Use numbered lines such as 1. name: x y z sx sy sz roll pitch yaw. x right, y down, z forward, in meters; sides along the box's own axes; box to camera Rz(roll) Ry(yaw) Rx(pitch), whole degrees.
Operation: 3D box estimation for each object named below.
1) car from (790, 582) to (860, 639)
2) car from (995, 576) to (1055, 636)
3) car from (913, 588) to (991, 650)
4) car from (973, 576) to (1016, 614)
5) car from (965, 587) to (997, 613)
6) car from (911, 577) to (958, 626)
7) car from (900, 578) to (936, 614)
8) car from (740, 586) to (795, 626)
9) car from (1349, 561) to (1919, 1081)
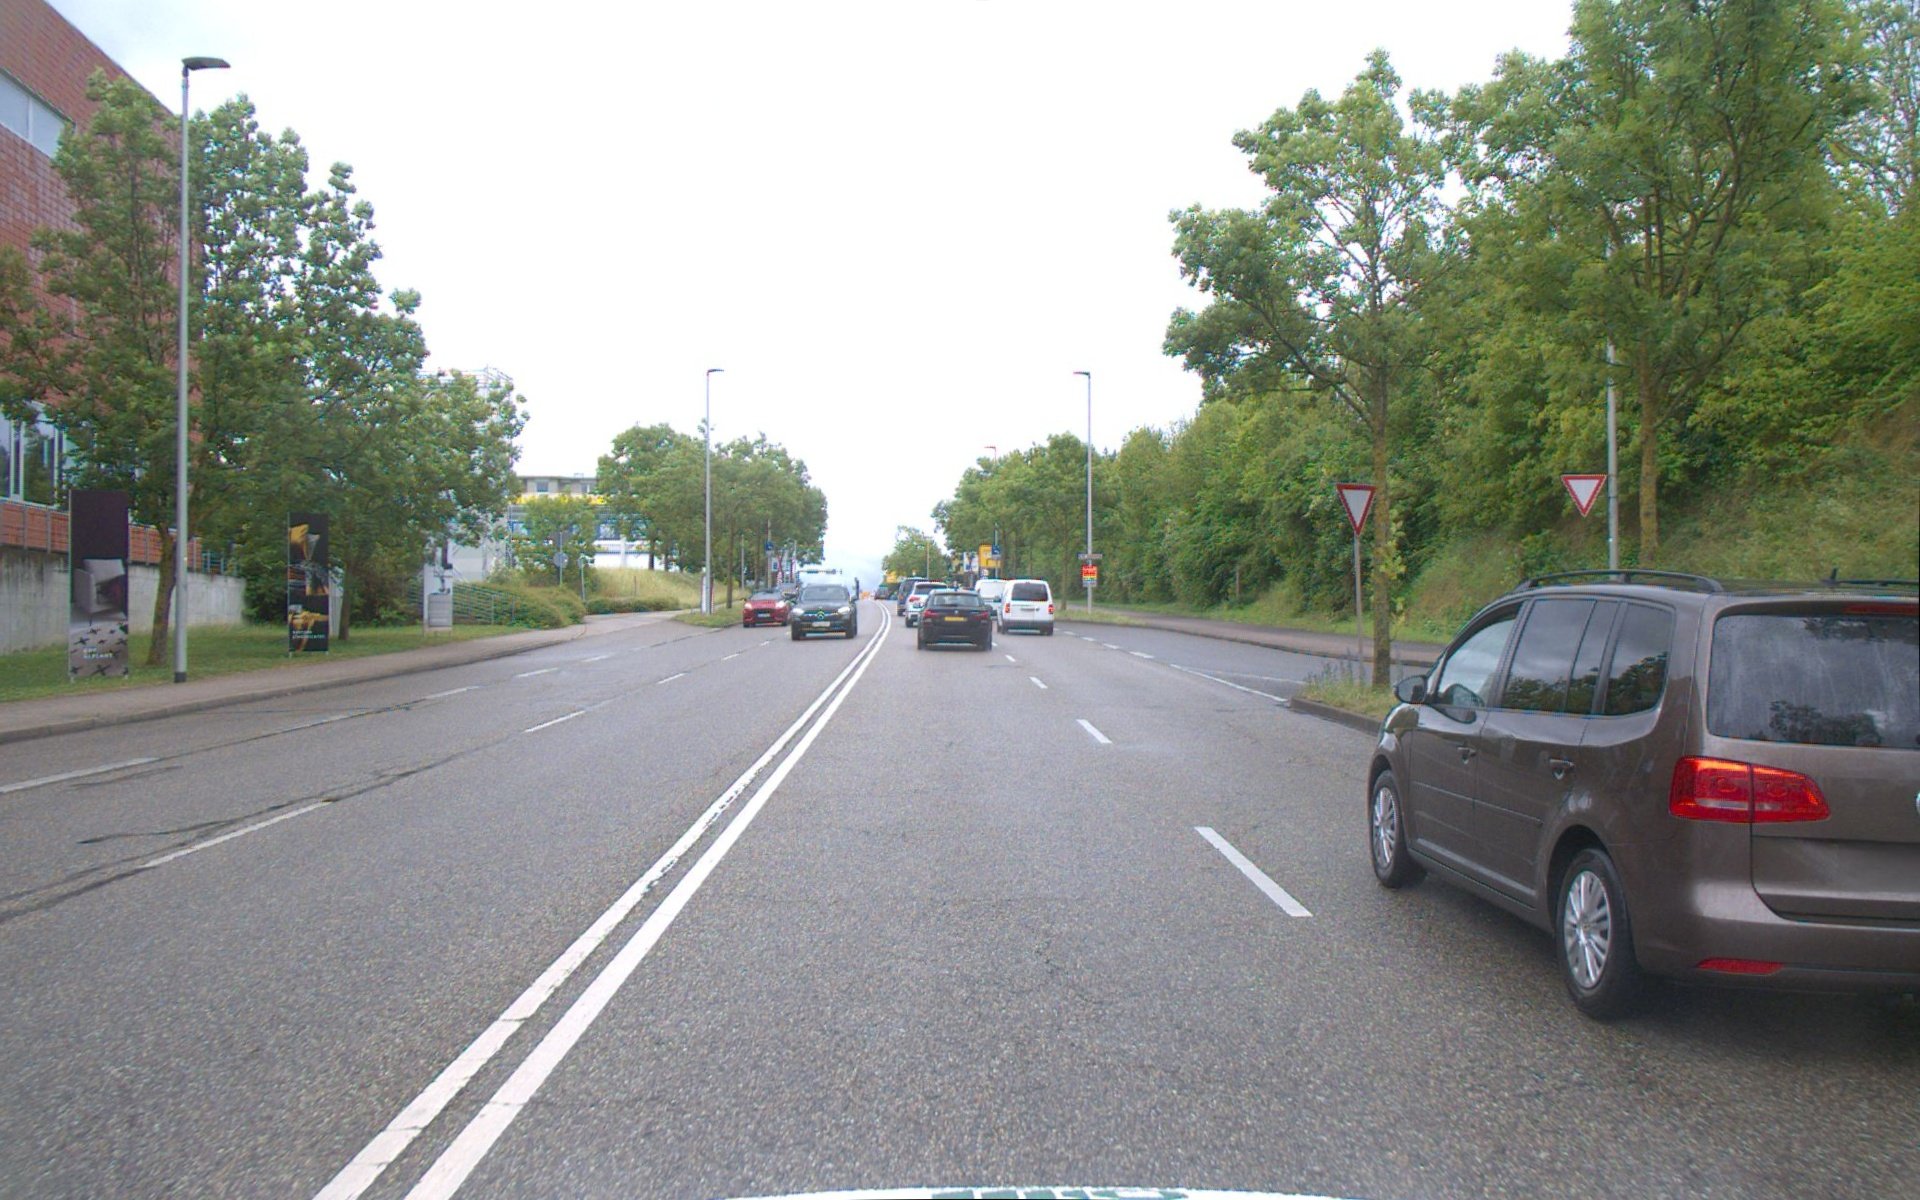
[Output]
1. car: -4.051 0.284 50.188 1.821 1.605 4.319 -2 1 -2
2. car: 2.174 0.176 55.943 1.706 1.902 3.944 1 0 -2
3. car: -0.251 0.434 41.145 1.817 1.444 3.955 1 0 -2
4. car: 1.590 -0.240 78.107 1.778 1.738 3.944 0 0 -2
5. car: 1.174 -0.037 93.243 1.568 1.396 3.678 -1 1 -3
6. car: -0.954 0.045 62.192 1.693 1.741 3.382 1 0 -1
7. car: -2.113 -0.193 82.574 1.723 1.738 3.944 0 0 -2
8. car: -7.829 0.212 67.584 1.641 1.532 4.217 -1 1 1
9. car: 3.099 0.694 7.267 1.679 1.624 4.129 1 0 -2
